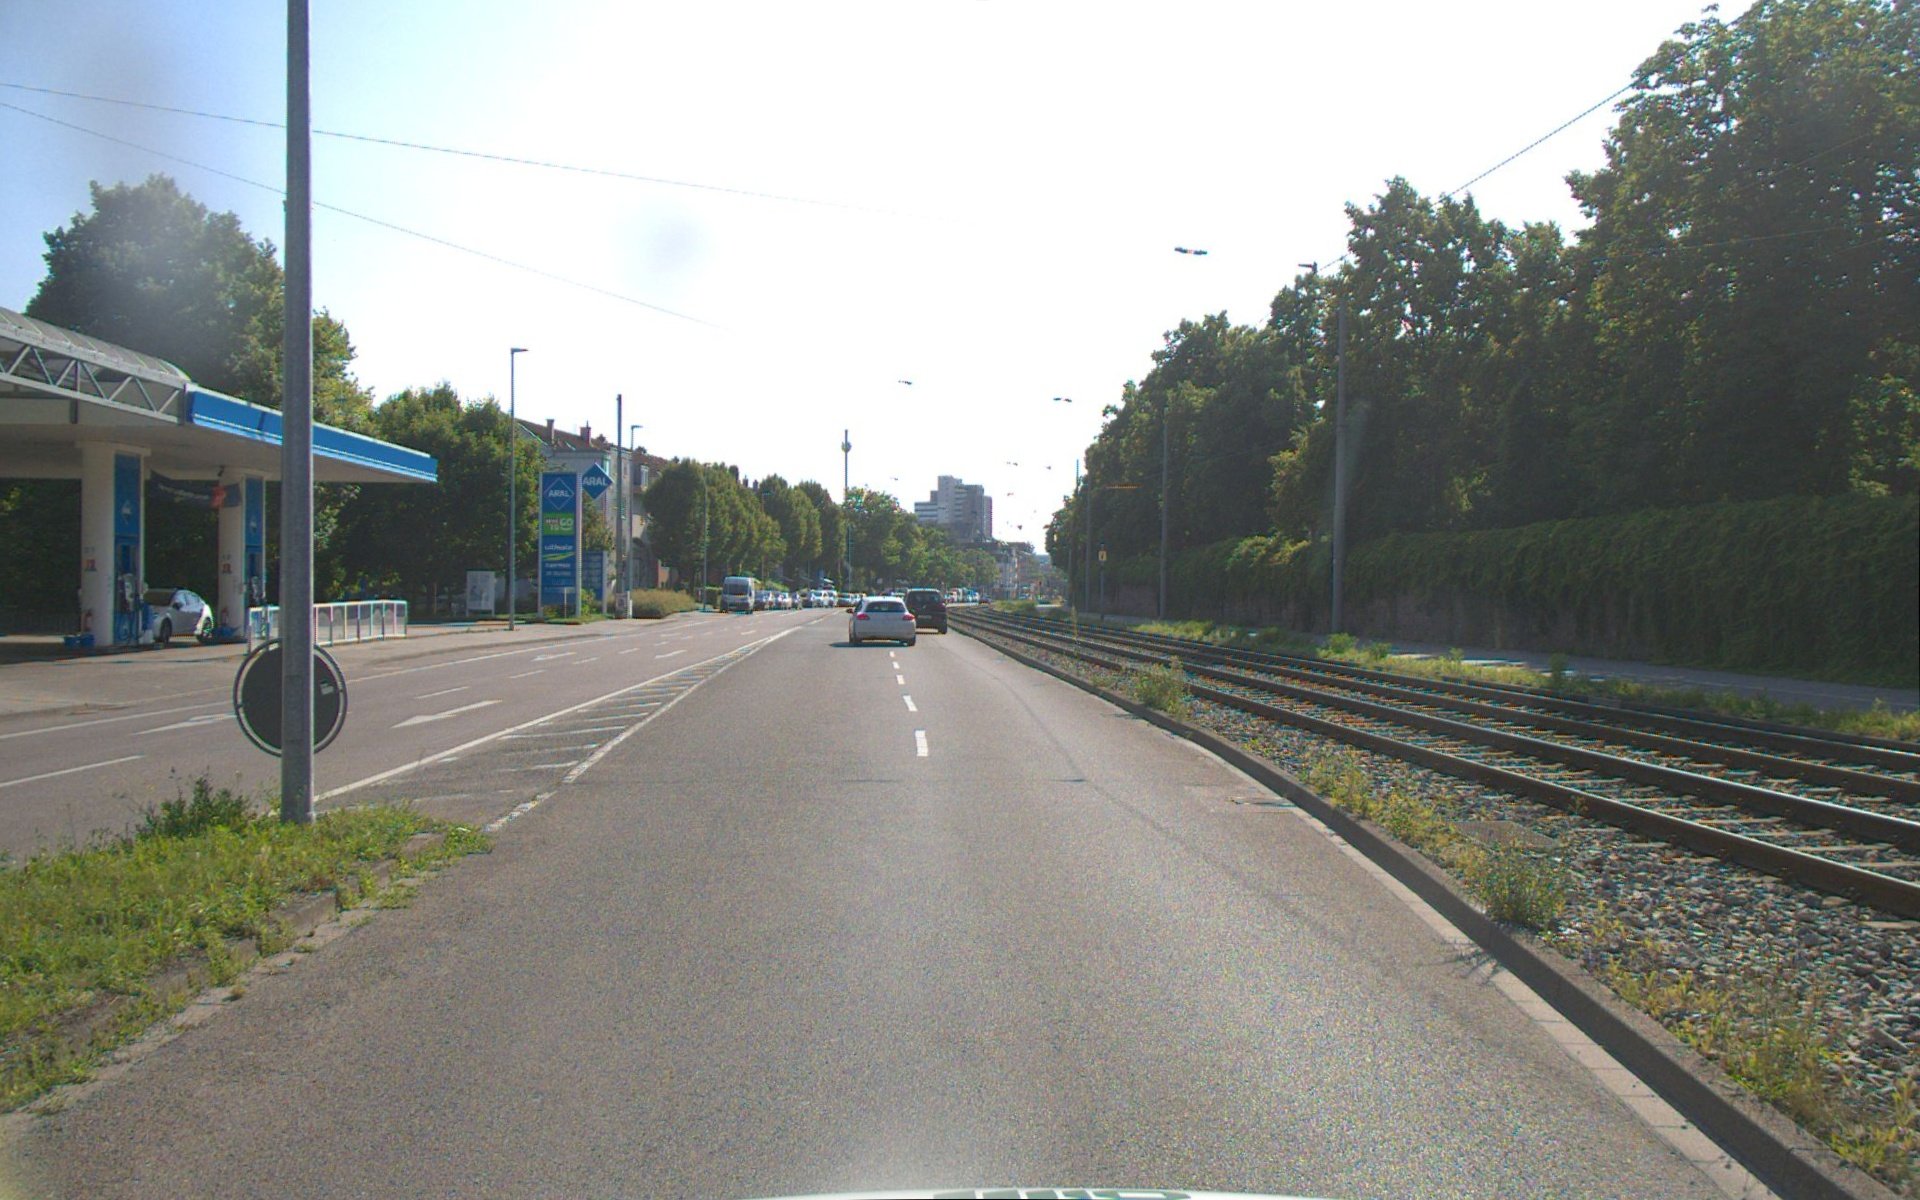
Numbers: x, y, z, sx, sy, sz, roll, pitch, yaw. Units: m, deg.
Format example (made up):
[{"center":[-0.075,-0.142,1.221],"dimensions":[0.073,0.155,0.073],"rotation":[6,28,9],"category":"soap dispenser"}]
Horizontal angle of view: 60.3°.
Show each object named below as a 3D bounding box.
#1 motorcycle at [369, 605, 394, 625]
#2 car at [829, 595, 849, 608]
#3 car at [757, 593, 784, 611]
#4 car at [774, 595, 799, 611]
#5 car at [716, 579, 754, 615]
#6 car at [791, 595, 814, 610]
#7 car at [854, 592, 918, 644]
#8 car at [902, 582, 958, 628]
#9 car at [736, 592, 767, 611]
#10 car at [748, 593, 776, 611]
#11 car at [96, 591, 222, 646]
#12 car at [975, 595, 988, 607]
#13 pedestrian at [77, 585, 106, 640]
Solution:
[{"center":[-27.266,0.706,77.993],"dimensions":[0.657,0.917,1.670],"rotation":[0,0,-3],"category":"motorcycle"},{"center":[-13.587,0.179,185.736],"dimensions":[1.953,1.441,3.843],"rotation":[0,0,-1],"category":"car"},{"center":[-16.290,0.157,142.167],"dimensions":[1.953,1.441,3.843],"rotation":[0,0,-1],"category":"car"},{"center":[-15.940,0.225,152.465],"dimensions":[1.953,1.441,3.843],"rotation":[0,0,-1],"category":"car"},{"center":[-15.511,-0.207,114.293],"dimensions":[1.953,2.418,4.538],"rotation":[0,0,0],"category":"car"},{"center":[-15.596,0.260,164.152],"dimensions":[1.953,1.441,3.843],"rotation":[0,0,-1],"category":"car"},{"center":[-2.176,0.496,48.225],"dimensions":[1.745,1.380,3.599],"rotation":[2,0,-3],"category":"car"},{"center":[-1.166,0.181,62.421],"dimensions":[1.691,1.620,3.595],"rotation":[2,0,-7],"category":"car"},{"center":[-16.328,0.118,129.629],"dimensions":[1.953,1.441,3.843],"rotation":[0,0,-1],"category":"car"},{"center":[-16.261,0.138,135.999],"dimensions":[1.953,1.441,3.843],"rotation":[0,0,-1],"category":"car"},{"center":[-21.876,0.467,45.334],"dimensions":[1.709,1.418,4.117],"rotation":[0,0,-4],"category":"car"},{"center":[3.052,0.126,239.390],"dimensions":[1.688,1.620,3.602],"rotation":[2,0,3],"category":"car"},{"center":[-28.004,0.406,53.347],"dimensions":[0.651,1.758,0.846],"rotation":[0,0,-15],"category":"pedestrian"}]
